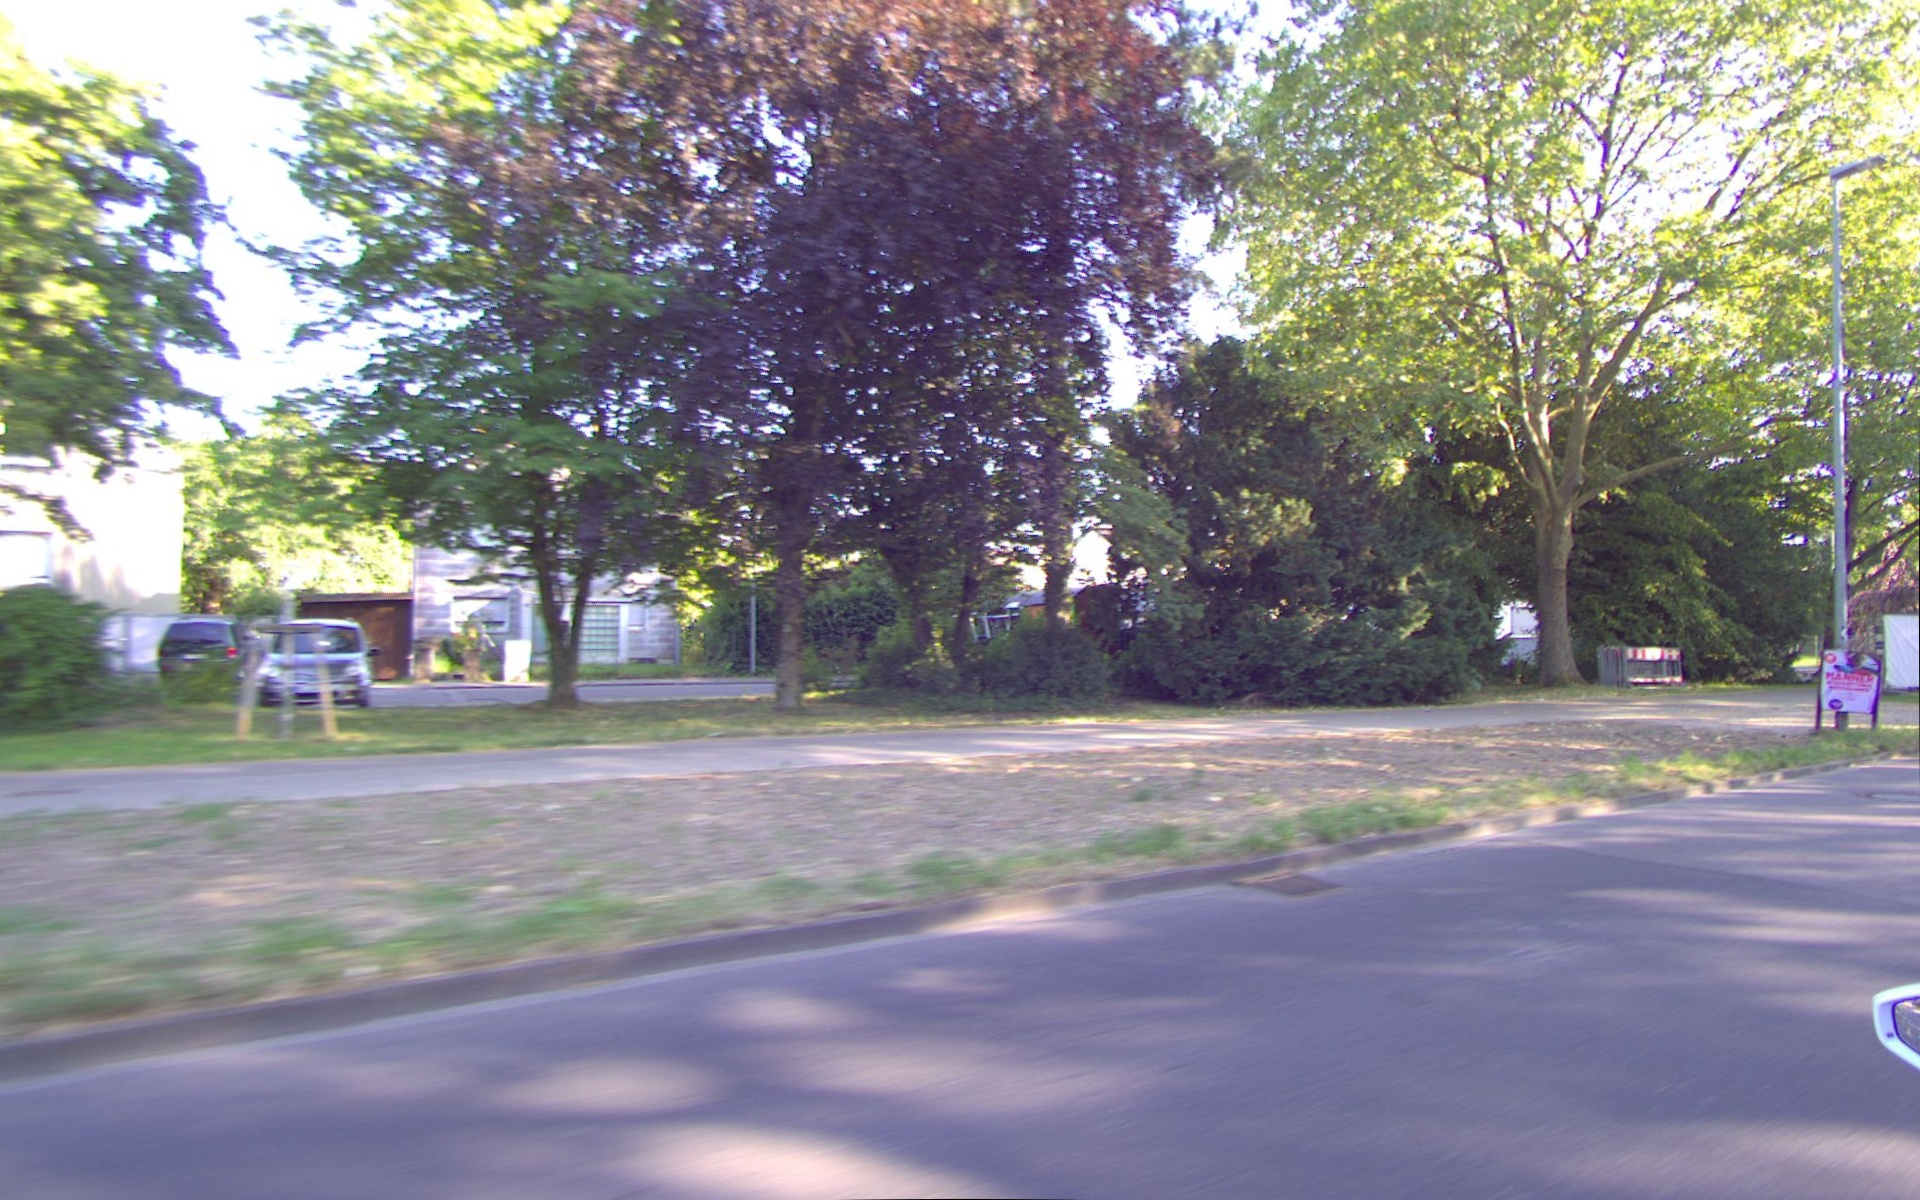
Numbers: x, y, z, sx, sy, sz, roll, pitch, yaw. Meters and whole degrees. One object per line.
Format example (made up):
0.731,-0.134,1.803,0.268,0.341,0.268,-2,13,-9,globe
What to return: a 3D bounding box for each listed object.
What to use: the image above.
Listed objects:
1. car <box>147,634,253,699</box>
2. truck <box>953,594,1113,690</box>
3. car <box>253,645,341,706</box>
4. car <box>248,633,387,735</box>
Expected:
-20.920,1.787,27.808,1.908,1.654,3.967,1,-3,-31,car
2.010,1.167,27.688,3.953,2.450,2.070,2,-3,-30,truck
-18.907,2.103,28.800,1.908,1.622,3.967,2,-3,-31,car
-11.639,1.445,18.324,1.908,1.622,3.966,2,-3,-32,car
